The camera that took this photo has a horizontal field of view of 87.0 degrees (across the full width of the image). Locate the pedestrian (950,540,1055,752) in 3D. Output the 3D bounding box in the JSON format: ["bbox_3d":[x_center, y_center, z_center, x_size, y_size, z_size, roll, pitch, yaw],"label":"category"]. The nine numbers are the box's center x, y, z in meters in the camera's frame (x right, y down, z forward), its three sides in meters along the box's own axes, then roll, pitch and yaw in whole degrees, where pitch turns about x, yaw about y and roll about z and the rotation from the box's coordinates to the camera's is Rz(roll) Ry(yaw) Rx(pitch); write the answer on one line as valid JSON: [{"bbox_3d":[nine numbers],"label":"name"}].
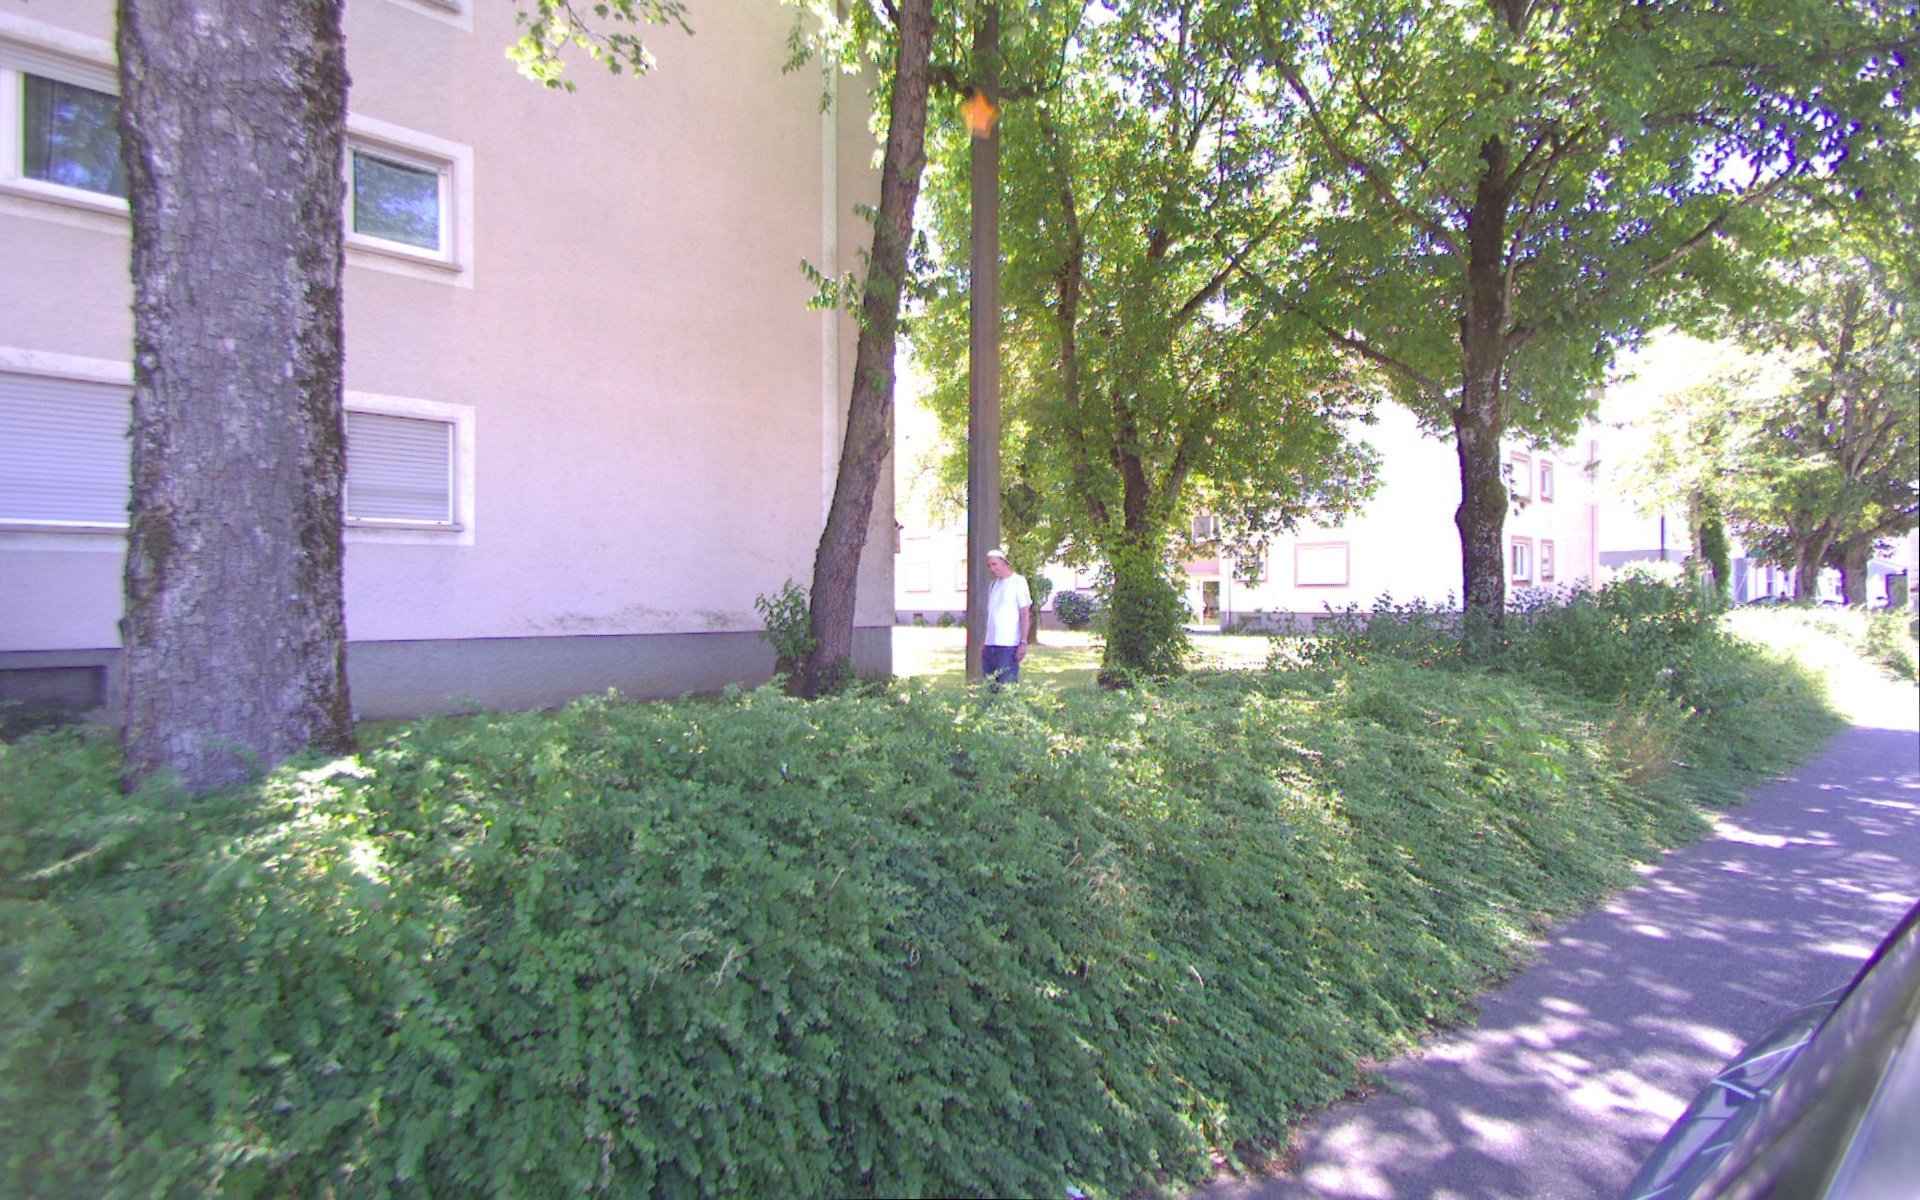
[{"bbox_3d":[0.417,0.400,9.598,0.668,1.897,0.894,1,1,28],"label":"pedestrian"}]
